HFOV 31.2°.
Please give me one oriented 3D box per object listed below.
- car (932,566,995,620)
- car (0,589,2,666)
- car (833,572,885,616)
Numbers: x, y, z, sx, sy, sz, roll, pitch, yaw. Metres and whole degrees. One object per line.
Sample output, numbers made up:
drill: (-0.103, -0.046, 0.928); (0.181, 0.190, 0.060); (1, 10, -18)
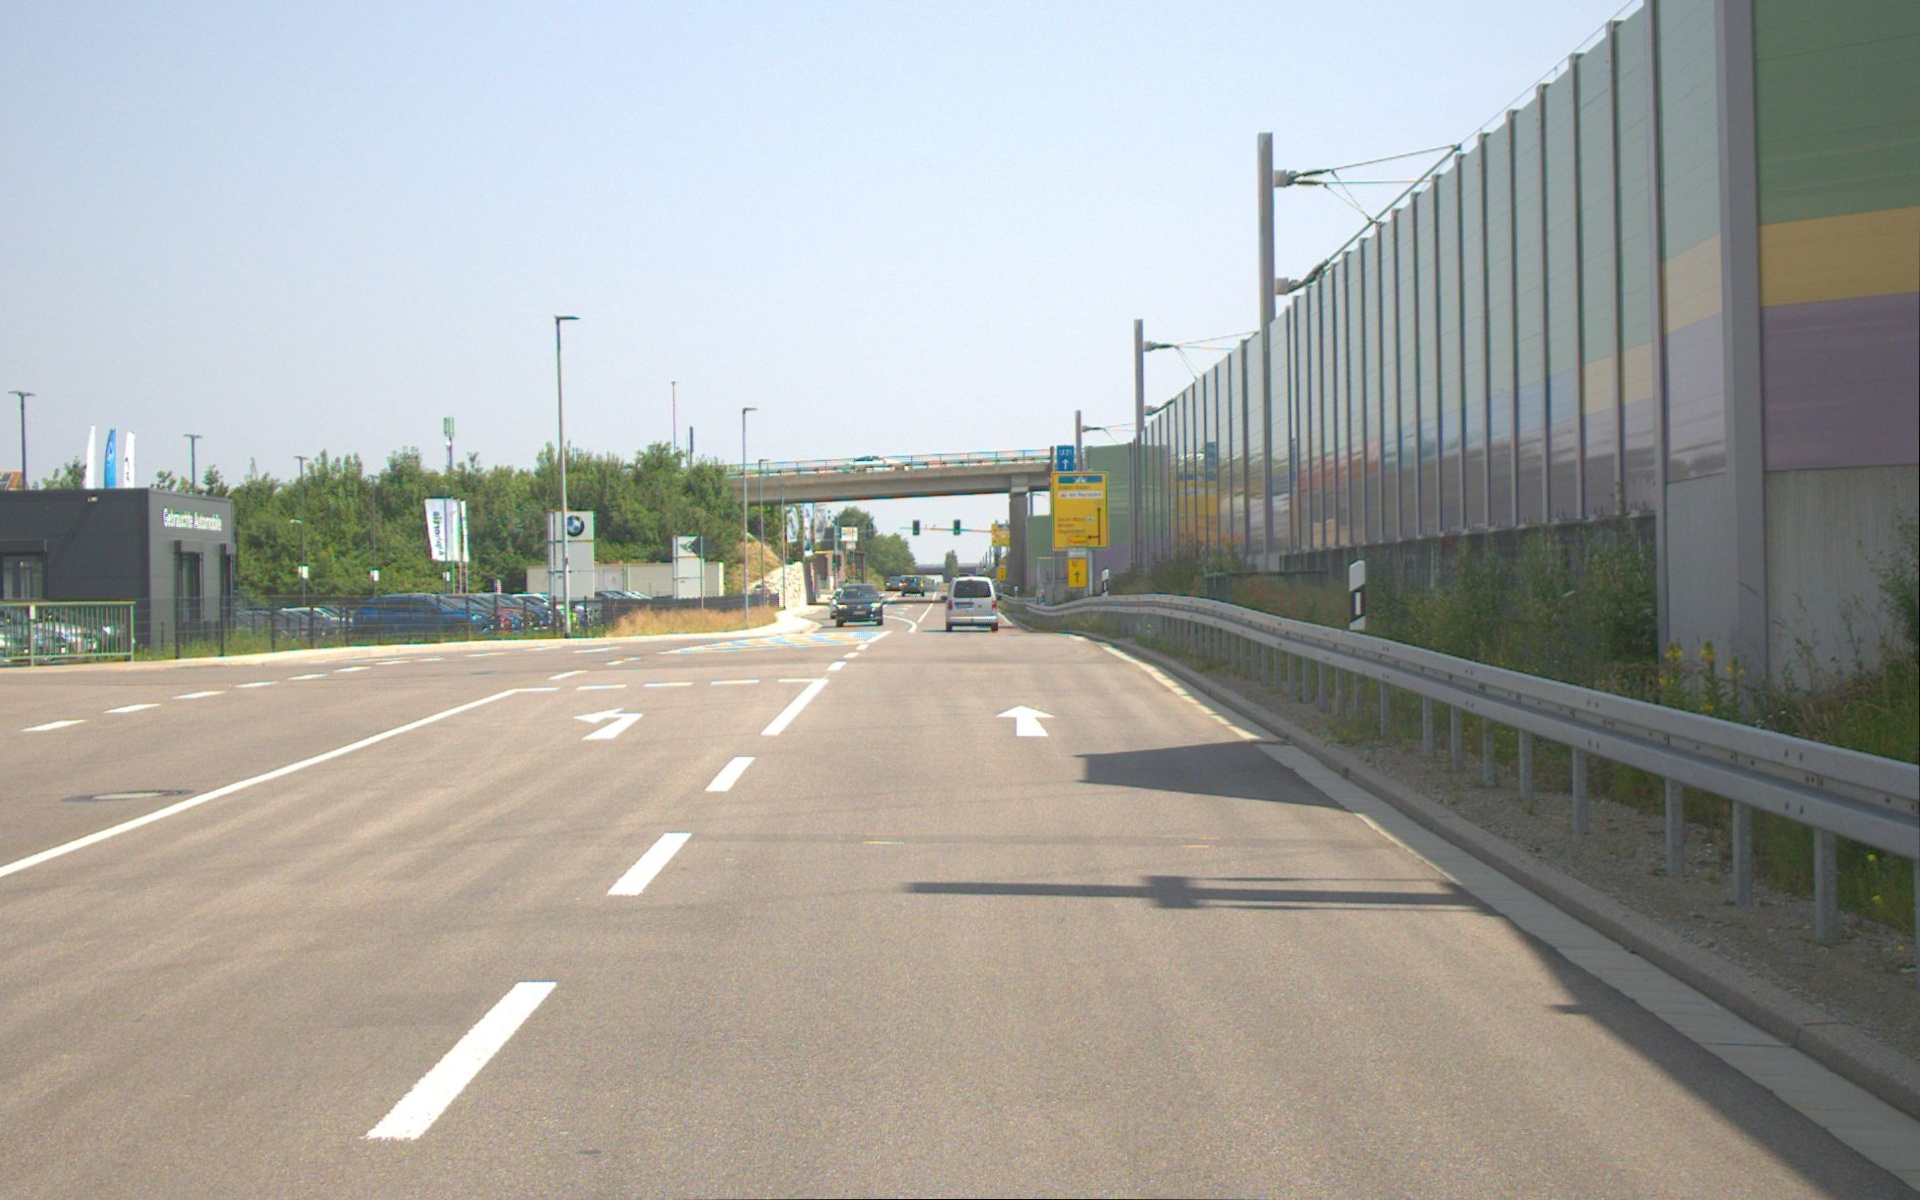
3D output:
car: (0.134, -0.251, 115.144); (1.993, 1.751, 4.000); (-1, 1, 2)
car: (-21.039, 0.570, 67.382); (3.987, 1.626, 1.887); (-1, 1, -1)
car: (-3.957, -0.253, 135.314); (1.877, 1.667, 4.291); (-1, 1, 0)
